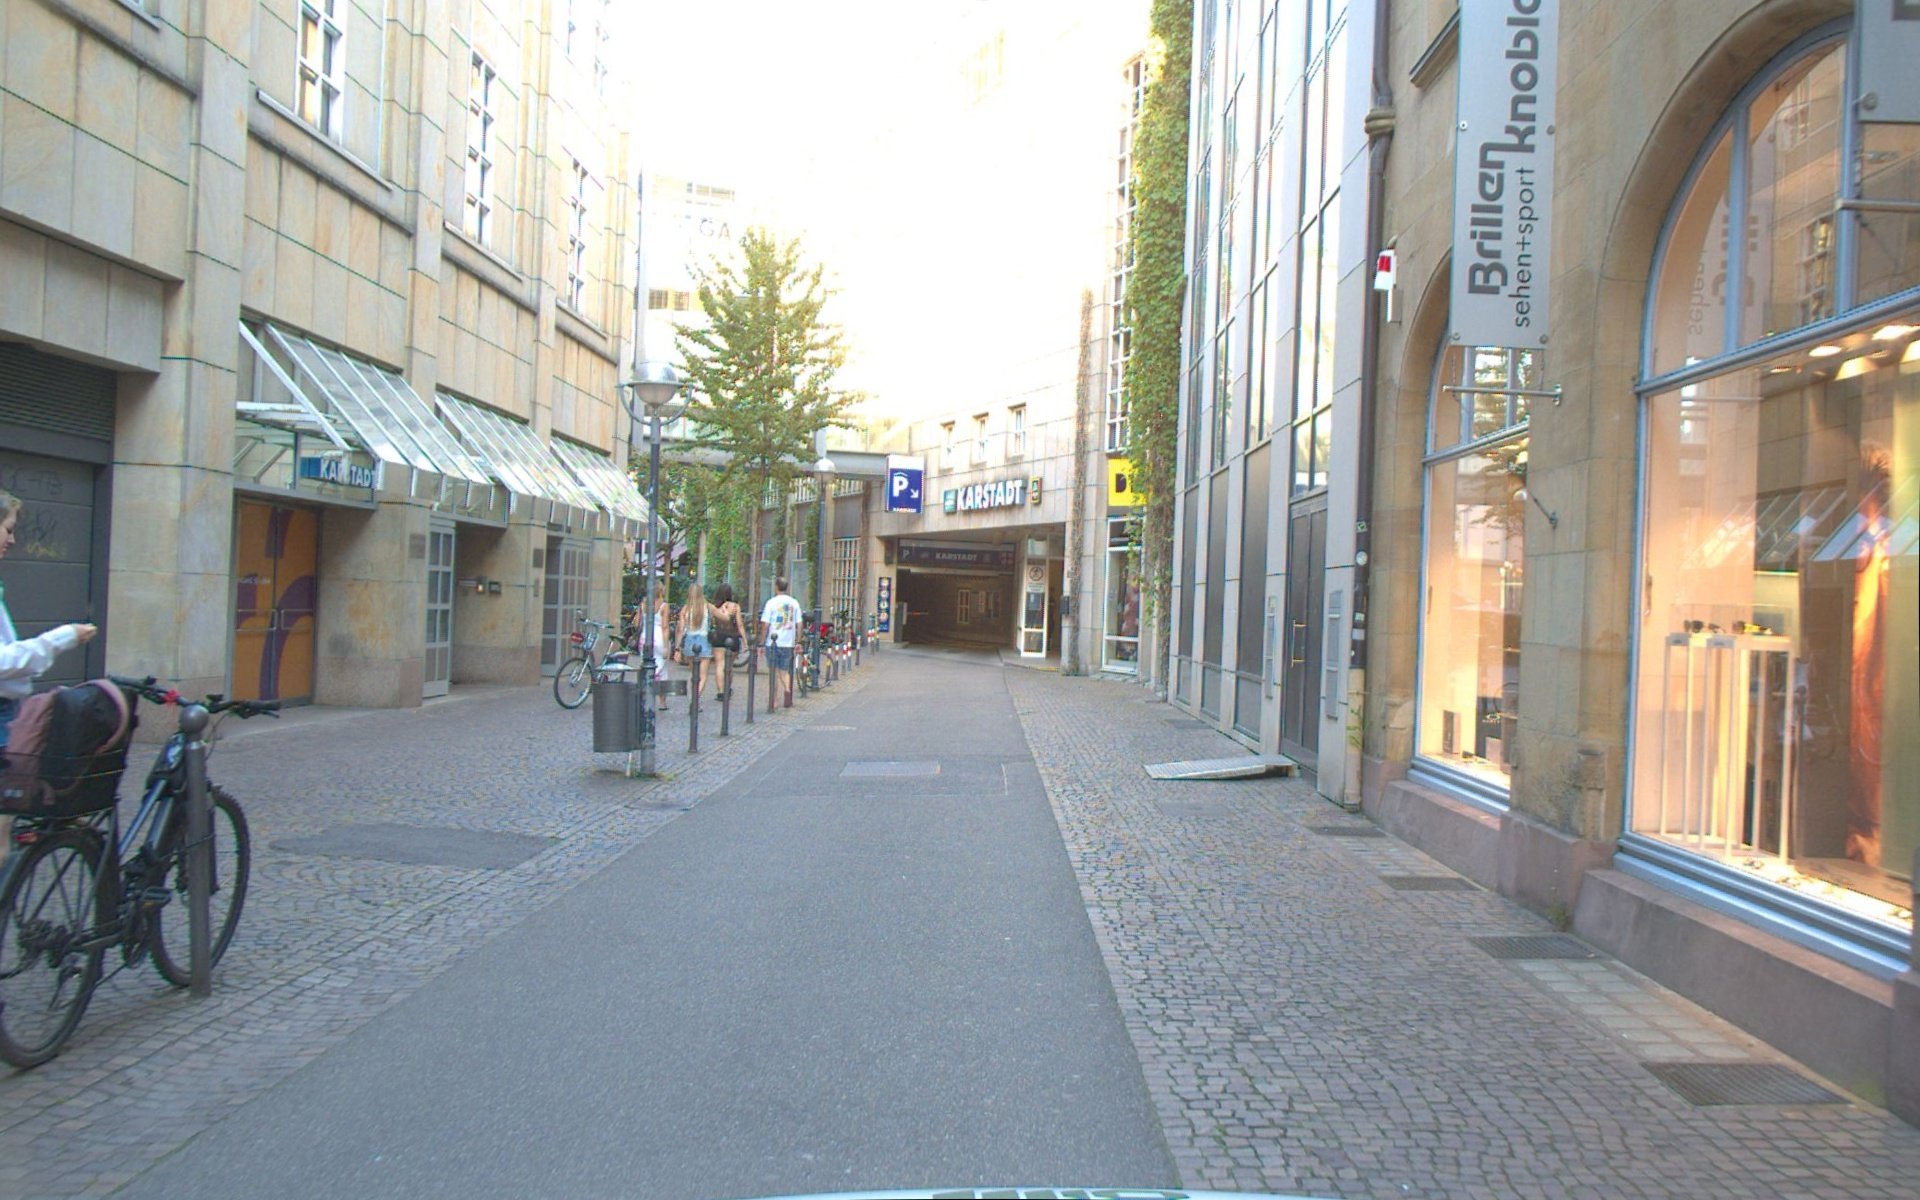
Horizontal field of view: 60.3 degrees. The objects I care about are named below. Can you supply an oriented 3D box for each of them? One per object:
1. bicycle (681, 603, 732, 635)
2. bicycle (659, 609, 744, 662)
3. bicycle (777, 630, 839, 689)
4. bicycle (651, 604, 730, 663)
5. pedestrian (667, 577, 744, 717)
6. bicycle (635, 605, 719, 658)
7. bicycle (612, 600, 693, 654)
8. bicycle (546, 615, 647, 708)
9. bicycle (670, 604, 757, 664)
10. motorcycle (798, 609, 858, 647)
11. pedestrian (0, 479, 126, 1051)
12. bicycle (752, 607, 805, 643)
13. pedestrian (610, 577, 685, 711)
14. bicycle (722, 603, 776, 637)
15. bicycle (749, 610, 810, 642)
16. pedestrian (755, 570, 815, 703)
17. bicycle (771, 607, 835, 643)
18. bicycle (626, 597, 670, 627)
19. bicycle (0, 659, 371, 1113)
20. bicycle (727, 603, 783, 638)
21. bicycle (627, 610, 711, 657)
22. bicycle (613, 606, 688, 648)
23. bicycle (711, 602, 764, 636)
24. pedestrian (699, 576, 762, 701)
[{"bbox_3d":[-9.169,0.687,59.794,1.747,1.134,0.539,1,0,-21],"label":"bicycle"},{"bbox_3d":[-5.824,0.801,37.289,1.811,1.142,0.530,1,0,-23],"label":"bicycle"},{"bbox_3d":[-2.620,1.017,28.692,0.482,0.955,1.660,3,0,15],"label":"bicycle"},{"bbox_3d":[-5.933,0.740,36.396,1.631,1.252,0.530,1,0,-23],"label":"bicycle"},{"bbox_3d":[-3.306,0.596,21.579,0.790,1.760,0.948,2,0,0],"label":"pedestrian"},{"bbox_3d":[-6.539,0.725,38.238,1.846,1.198,0.530,1,0,-23],"label":"bicycle"},{"bbox_3d":[-7.323,0.653,39.438,1.808,1.246,0.530,1,0,-23],"label":"bicycle"},{"bbox_3d":[-4.783,0.785,21.866,0.510,1.158,1.765,1,0,16],"label":"bicycle"},{"bbox_3d":[-5.228,0.728,35.122,1.742,1.252,0.530,1,0,-23],"label":"bicycle"},{"bbox_3d":[-3.780,0.801,47.290,1.639,1.069,0.461,1,0,-21],"label":"motorcycle"},{"bbox_3d":[-3.168,0.491,5.272,0.757,1.748,0.588,4,0,-22],"label":"pedestrian"},{"bbox_3d":[-5.566,0.755,50.706,1.517,1.067,0.572,1,0,-21],"label":"bicycle"},{"bbox_3d":[-4.071,0.567,21.619,0.660,1.693,0.861,2,0,8],"label":"pedestrian"},{"bbox_3d":[-7.210,0.677,56.519,1.747,1.134,0.539,1,0,-21],"label":"bicycle"},{"bbox_3d":[-5.422,0.794,49.757,1.747,0.920,0.461,1,0,-21],"label":"bicycle"},{"bbox_3d":[-2.510,0.508,23.613,0.729,1.854,0.875,1,0,-12],"label":"pedestrian"},{"bbox_3d":[-4.636,0.738,48.911,1.821,0.999,0.461,1,0,-21],"label":"bicycle"},{"bbox_3d":[-13.358,0.514,70.736,1.747,1.211,0.583,1,0,-21],"label":"bicycle"},{"bbox_3d":[-2.655,0.839,5.609,0.522,1.173,1.915,3,0,1],"label":"bicycle"},{"bbox_3d":[-6.851,0.698,55.319,1.747,1.134,0.539,1,0,-21],"label":"bicycle"},{"bbox_3d":[-6.816,0.785,38.766,1.868,1.070,0.530,1,0,-23],"label":"bicycle"},{"bbox_3d":[-8.074,0.716,43.217,1.851,1.061,0.530,1,0,-23],"label":"bicycle"},{"bbox_3d":[-7.745,0.649,57.547,1.747,1.134,0.539,1,0,-21],"label":"bicycle"},{"bbox_3d":[-3.450,0.569,24.846,0.772,1.826,0.968,1,0,-16],"label":"pedestrian"}]
